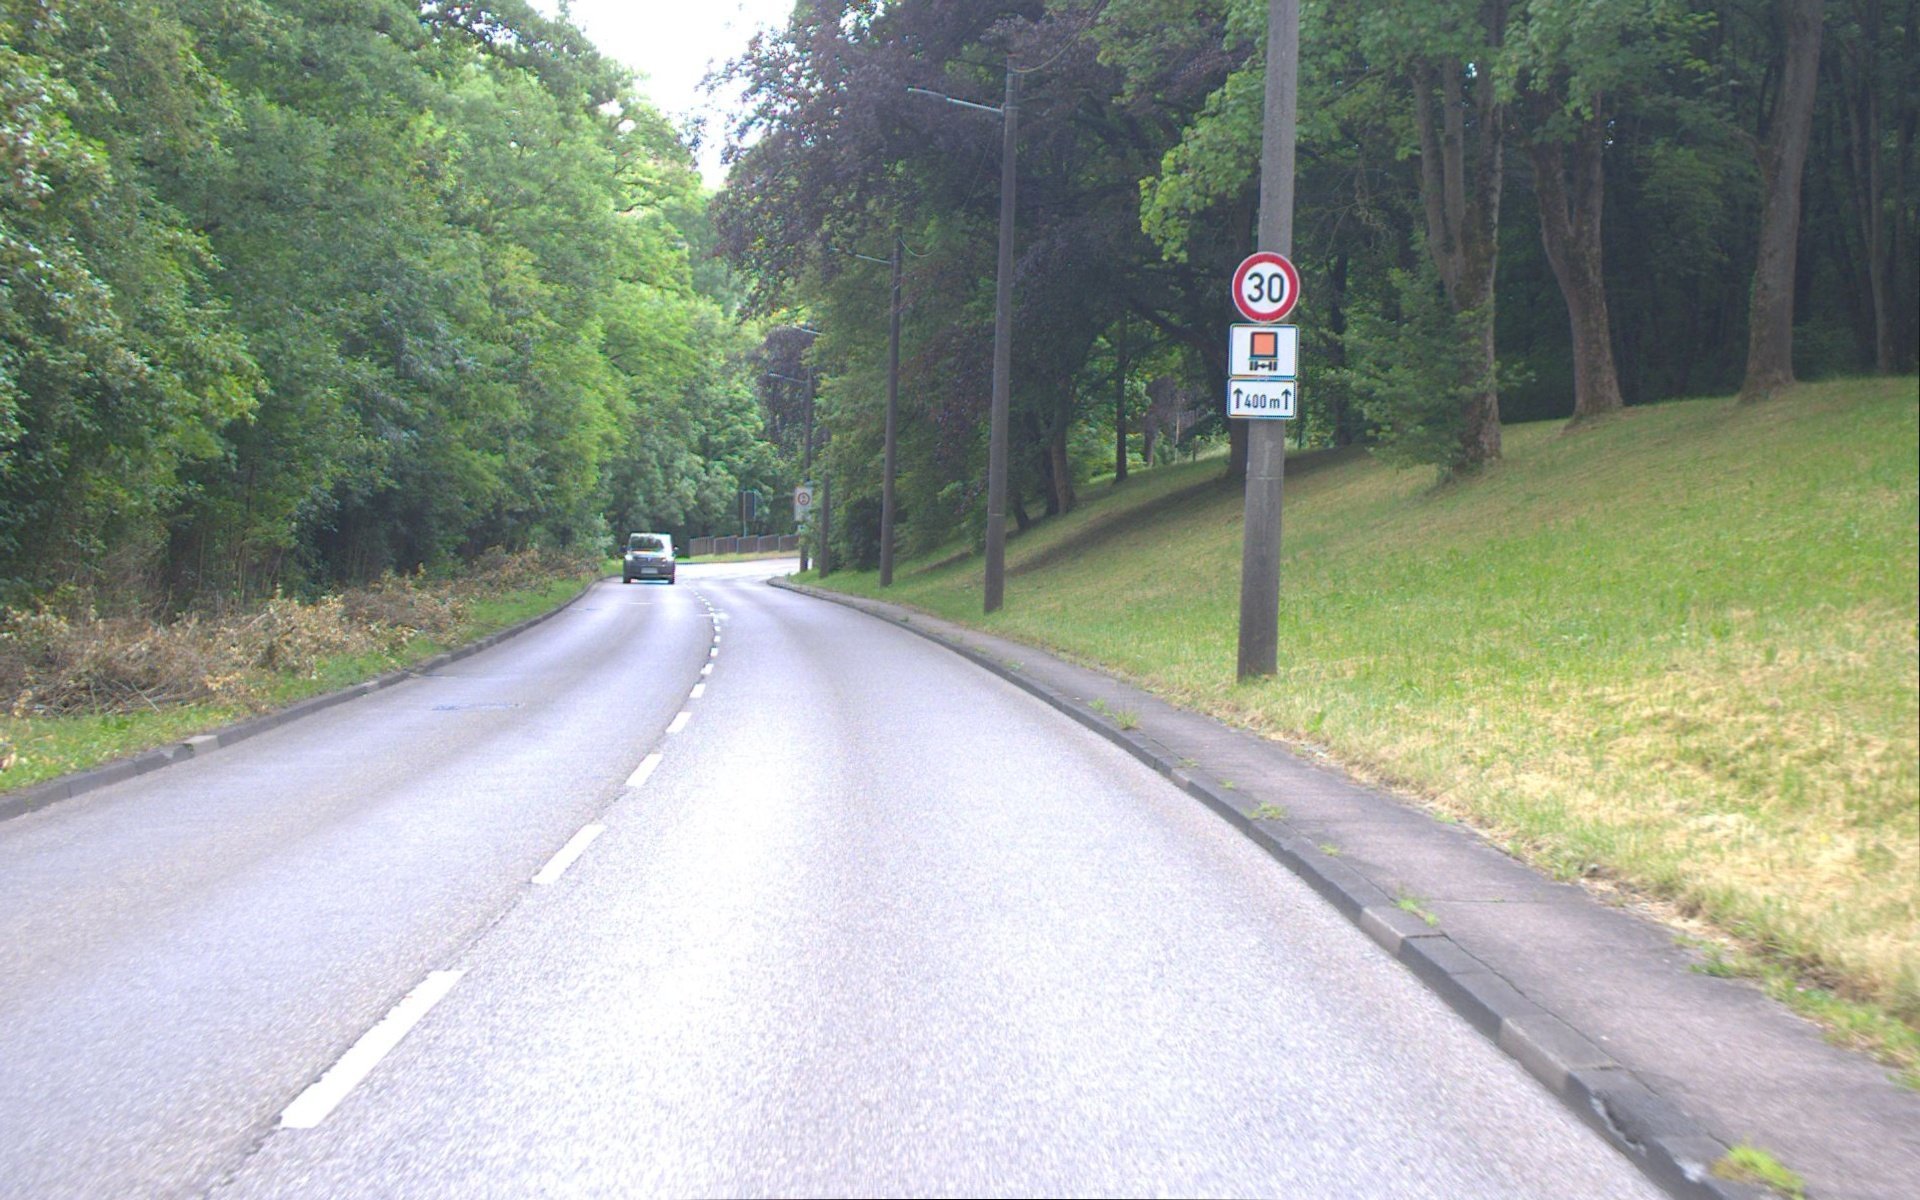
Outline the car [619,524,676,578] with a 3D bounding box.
[{"bbox_3d":[-11.655,-1.827,128.522,1.993,1.941,4.946,1,0,-4],"label":"car"}]
